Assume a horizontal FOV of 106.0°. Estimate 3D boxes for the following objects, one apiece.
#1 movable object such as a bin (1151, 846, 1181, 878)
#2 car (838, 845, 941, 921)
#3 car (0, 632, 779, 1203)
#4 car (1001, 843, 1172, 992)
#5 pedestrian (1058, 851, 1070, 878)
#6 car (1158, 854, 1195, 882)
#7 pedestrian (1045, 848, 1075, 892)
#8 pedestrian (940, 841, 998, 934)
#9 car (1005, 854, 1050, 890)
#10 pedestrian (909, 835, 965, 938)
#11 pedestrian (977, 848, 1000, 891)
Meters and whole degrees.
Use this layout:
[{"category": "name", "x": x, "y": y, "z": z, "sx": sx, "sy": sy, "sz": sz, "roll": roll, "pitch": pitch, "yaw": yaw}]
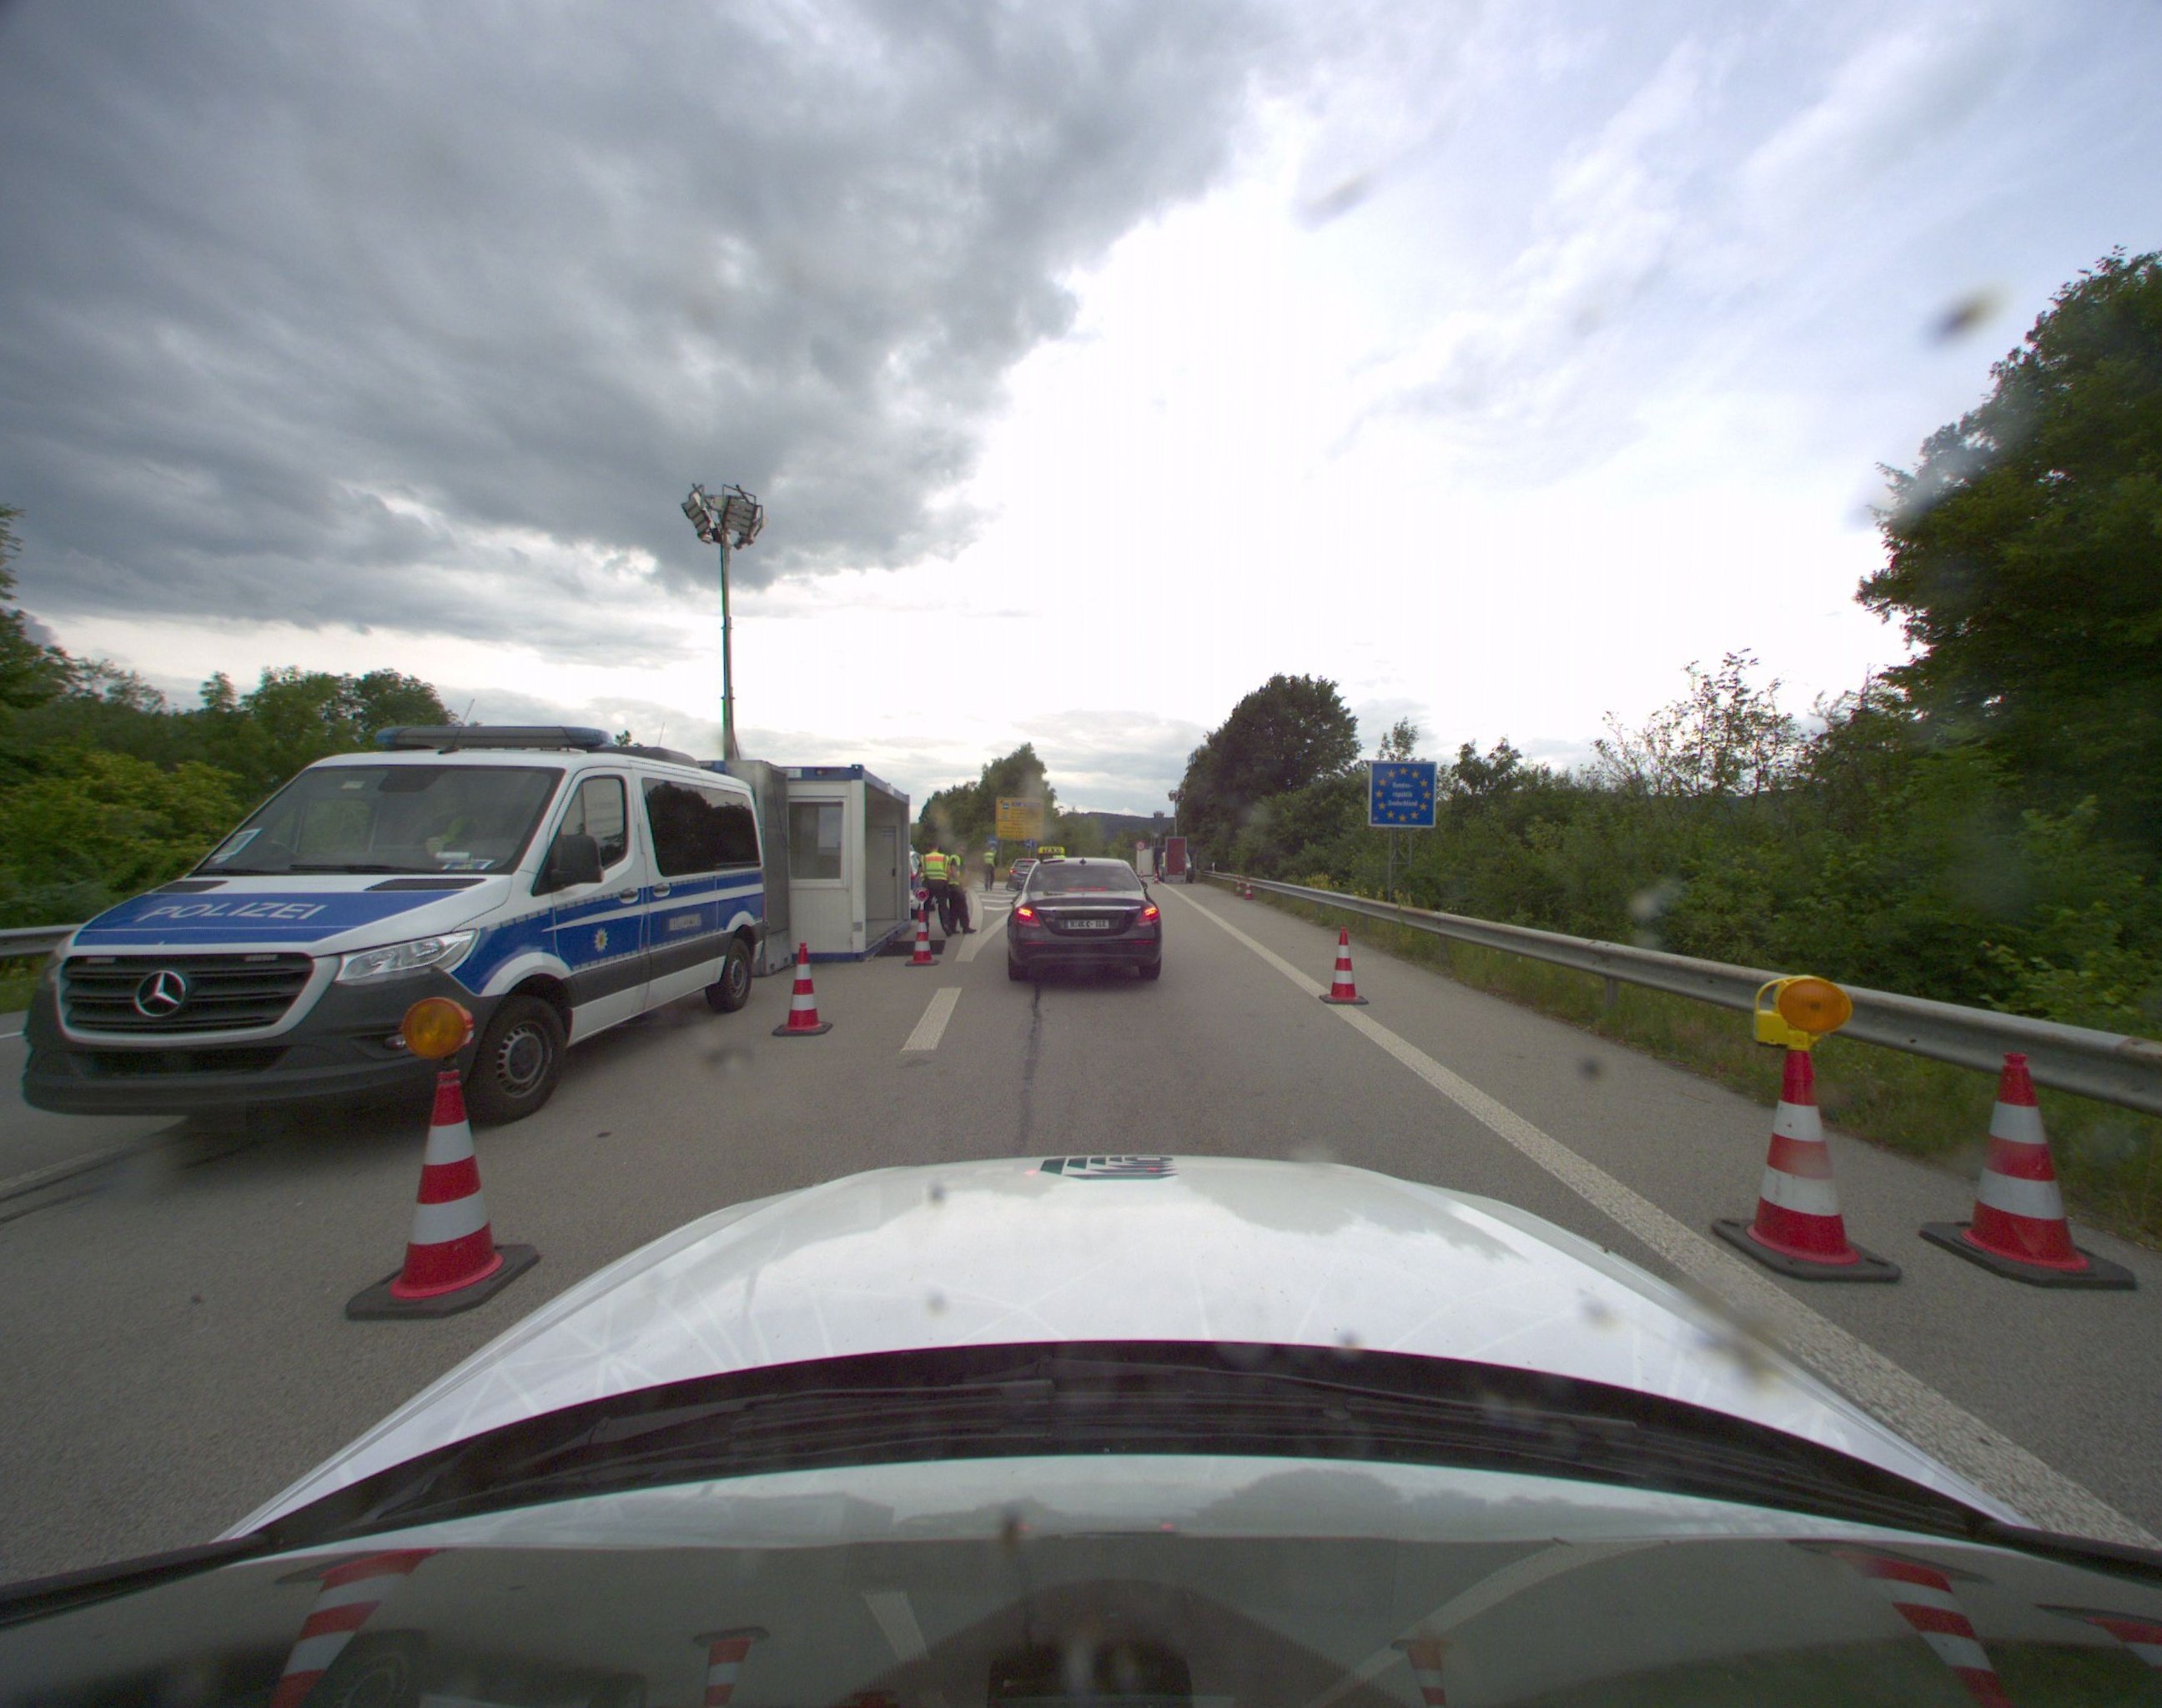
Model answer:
[{"category": "movable object such as a bin", "x": 6.217, "y": 0.552, "z": 60.199, "sx": 1.985, "sy": 2.280, "sz": 4.171, "roll": 0, "pitch": 0, "yaw": 3}, {"category": "car", "x": -4.764, "y": 0.674, "z": 20.836, "sx": 1.865, "sy": 1.743, "sz": 4.003, "roll": 0, "pitch": 0, "yaw": -3}, {"category": "car", "x": -4.190, "y": 0.270, "z": 6.189, "sx": 2.024, "sy": 2.463, "sz": 5.274, "roll": 0, "pitch": 0, "yaw": -3}, {"category": "car", "x": -0.015, "y": 0.686, "z": 11.005, "sx": 1.851, "sy": 1.595, "sz": 4.371, "roll": 0, "pitch": 0, "yaw": -2}, {"category": "pedestrian", "x": -1.253, "y": 0.747, "z": 59.731, "sx": 0.659, "sy": 1.961, "sz": 0.762, "roll": -1, "pitch": -1, "yaw": 16}, {"category": "car", "x": 5.947, "y": 0.840, "z": 51.354, "sx": 1.909, "sy": 1.678, "sz": 5.086, "roll": 2, "pitch": 0, "yaw": 2}, {"category": "pedestrian", "x": -0.816, "y": 0.625, "z": 32.238, "sx": 0.913, "sy": 1.698, "sz": 0.906, "roll": 0, "pitch": 0, "yaw": -24}, {"category": "pedestrian", "x": -2.145, "y": 0.627, "z": 15.628, "sx": 0.808, "sy": 1.718, "sz": 0.766, "roll": -1, "pitch": -1, "yaw": 20}, {"category": "car", "x": -2.328, "y": 0.741, "z": 36.376, "sx": 1.850, "sy": 1.498, "sz": 4.253, "roll": 0, "pitch": 0, "yaw": -2}, {"category": "pedestrian", "x": -2.672, "y": 0.582, "z": 15.078, "sx": 0.817, "sy": 1.830, "sz": 0.802, "roll": 0, "pitch": -1, "yaw": -27}, {"category": "pedestrian", "x": -3.867, "y": 0.628, "z": 34.097, "sx": 0.908, "sy": 1.769, "sz": 0.911, "roll": 0, "pitch": 0, "yaw": -9}]
